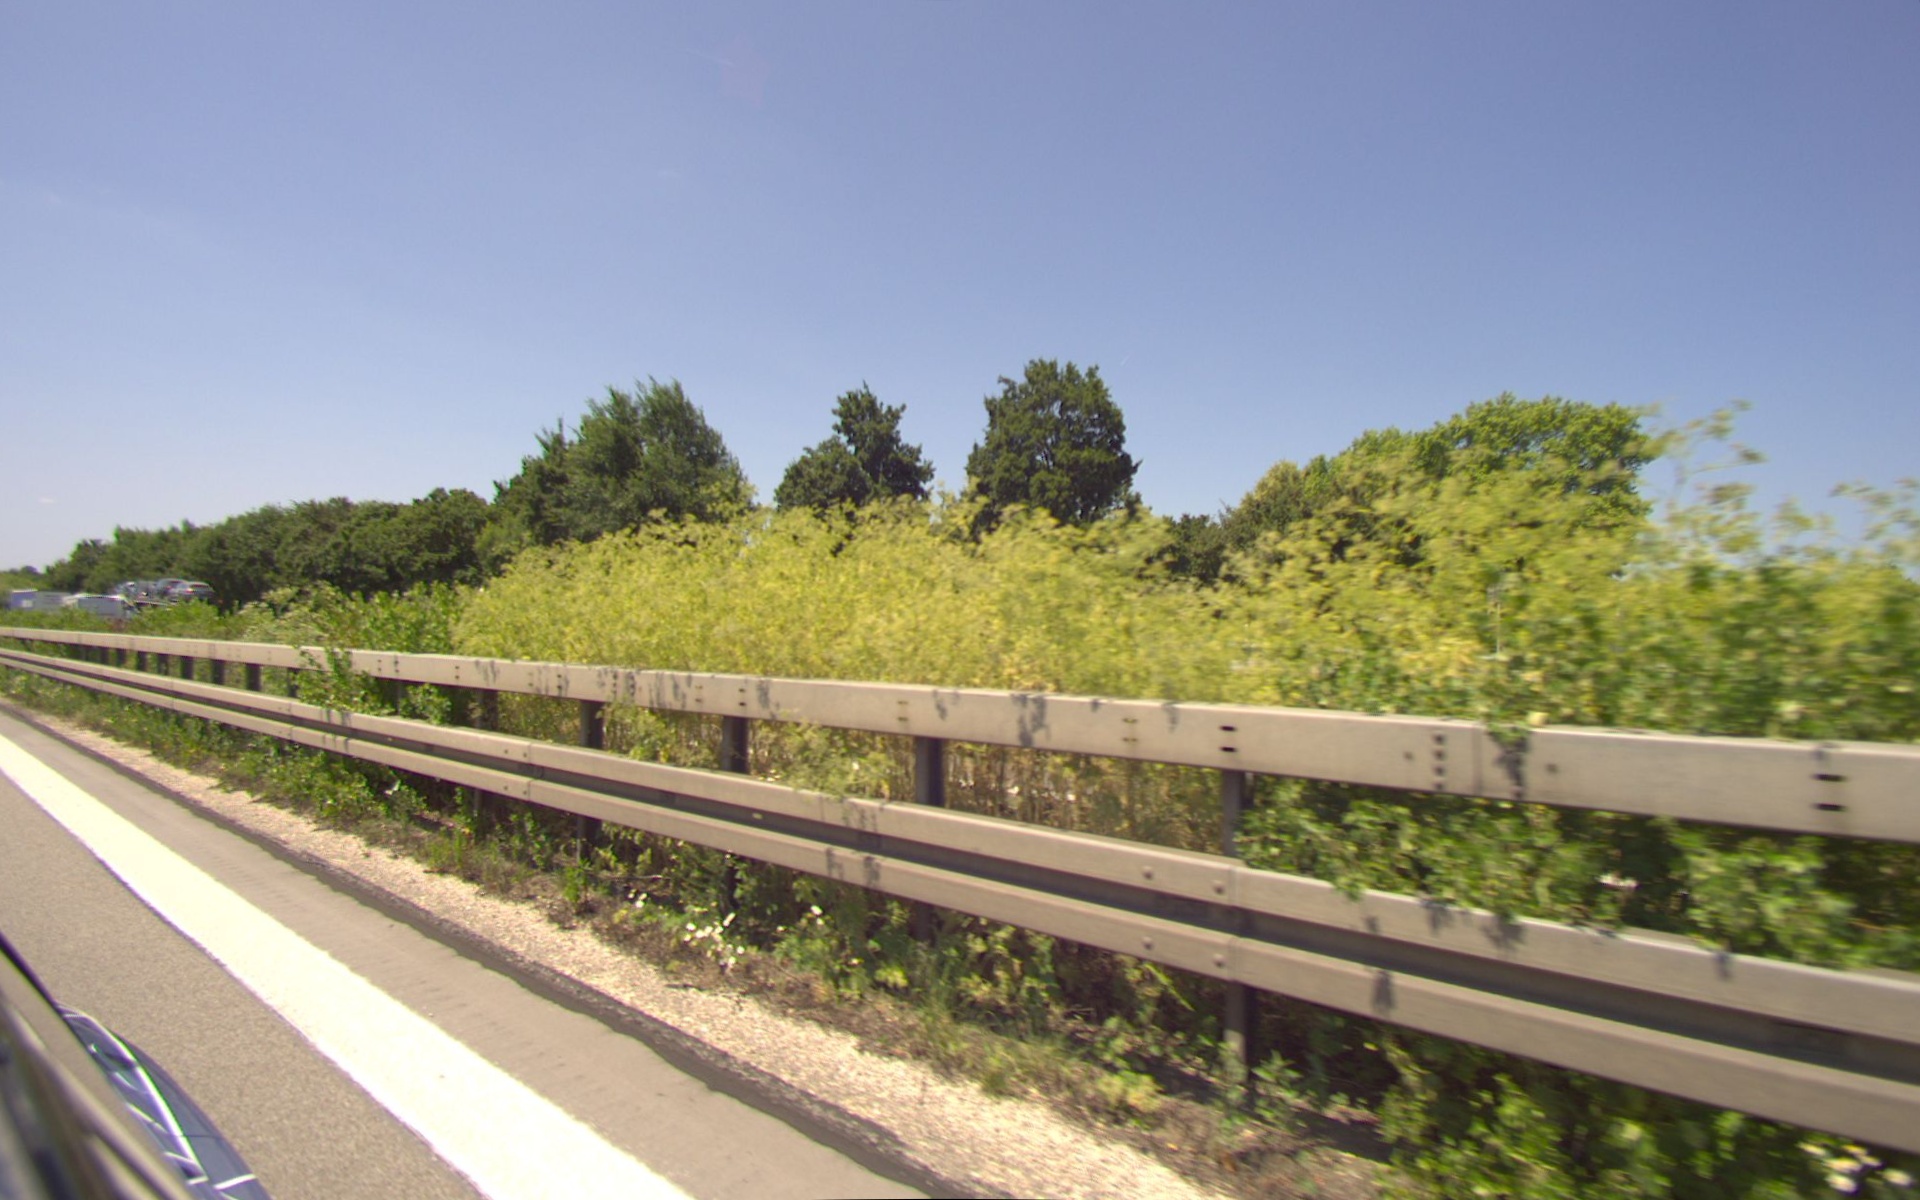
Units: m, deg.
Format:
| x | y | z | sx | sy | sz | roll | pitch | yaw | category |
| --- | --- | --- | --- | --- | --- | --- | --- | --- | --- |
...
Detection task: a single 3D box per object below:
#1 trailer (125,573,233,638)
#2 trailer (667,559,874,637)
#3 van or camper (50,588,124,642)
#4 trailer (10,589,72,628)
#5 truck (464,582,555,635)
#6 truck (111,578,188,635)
| x | y | z | sx | sy | sz | roll | pitch | yaw | category |
| --- | --- | --- | --- | --- | --- | --- | --- | --- | --- |
| -51.559 | 0.361 | 66.541 | 15.171 | 3.876 | 2.657 | 0 | 0 | 41 | trailer |
| -10.704 | -0.095 | 55.138 | 14.403 | 3.807 | 2.739 | 0 | 0 | 41 | trailer |
| -56.987 | 0.977 | 65.967 | 7.370 | 3.292 | 2.497 | 0 | -2 | 41 | van or camper |
| -93.462 | 0.820 | 102.844 | 14.520 | 3.762 | 2.813 | 0 | 0 | 40 | trailer |
| -33.111 | 0.610 | 74.185 | 8.388 | 3.661 | 2.529 | 0 | 0 | 39 | truck |
| -57.352 | 0.437 | 71.520 | 9.147 | 3.848 | 2.649 | 0 | 0 | 41 | truck |
